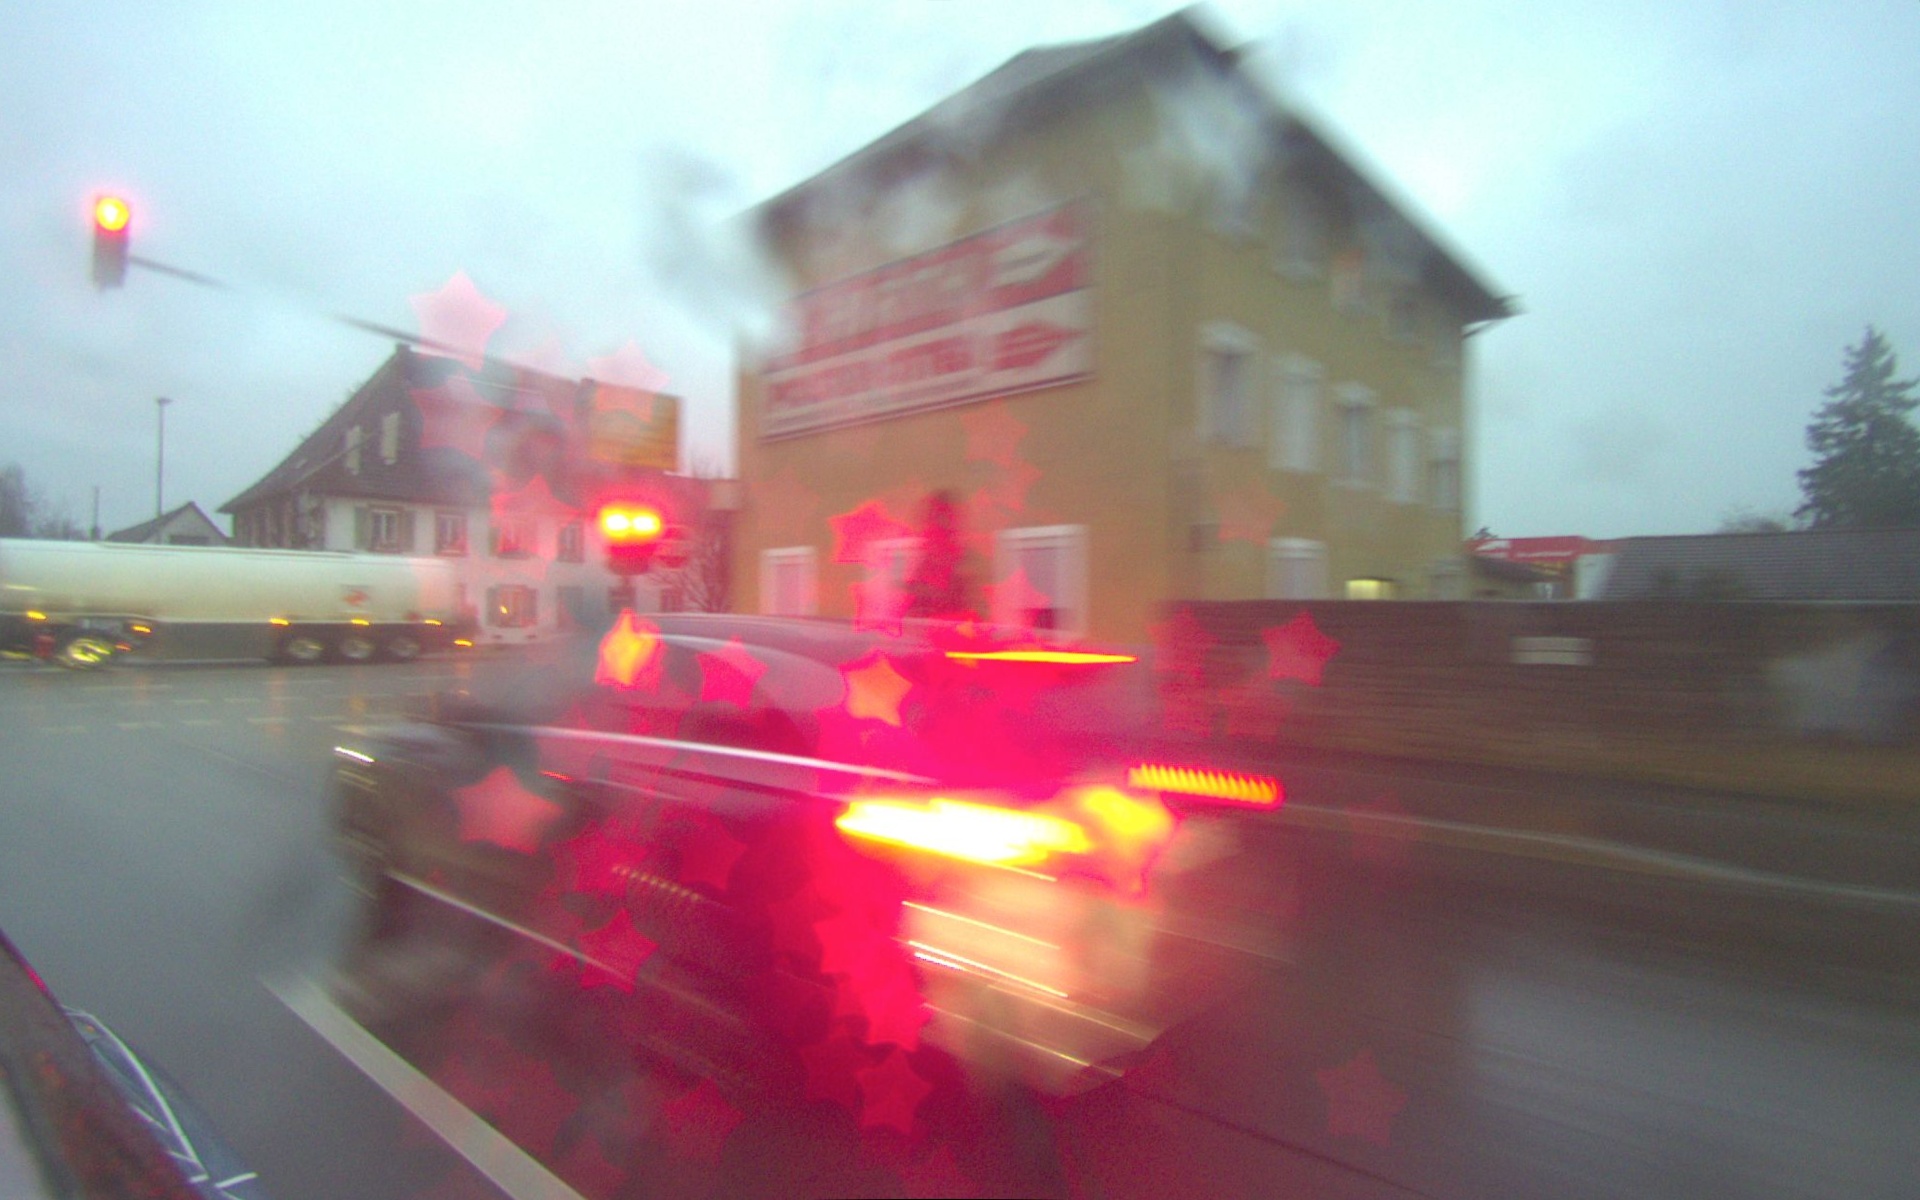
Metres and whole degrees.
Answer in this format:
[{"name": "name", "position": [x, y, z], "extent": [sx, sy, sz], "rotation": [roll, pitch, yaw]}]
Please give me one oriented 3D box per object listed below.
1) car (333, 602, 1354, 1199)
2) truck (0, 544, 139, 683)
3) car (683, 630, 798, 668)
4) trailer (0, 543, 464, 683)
[{"name": "car", "position": [-0.921, 0.783, 4.353], "extent": [4.523, 1.405, 1.859], "rotation": [-2, -3, 43]}, {"name": "truck", "position": [-23.706, 0.341, 24.023], "extent": [2.469, 3.254, 6.186], "rotation": [-2, -3, 41]}, {"name": "car", "position": [-8.614, 1.919, 40.057], "extent": [1.667, 1.450, 4.320], "rotation": [-3, -3, 42]}, {"name": "trailer", "position": [-19.921, 0.467, 28.311], "extent": [2.495, 3.265, 10.718], "rotation": [-2, -3, 41]}]
